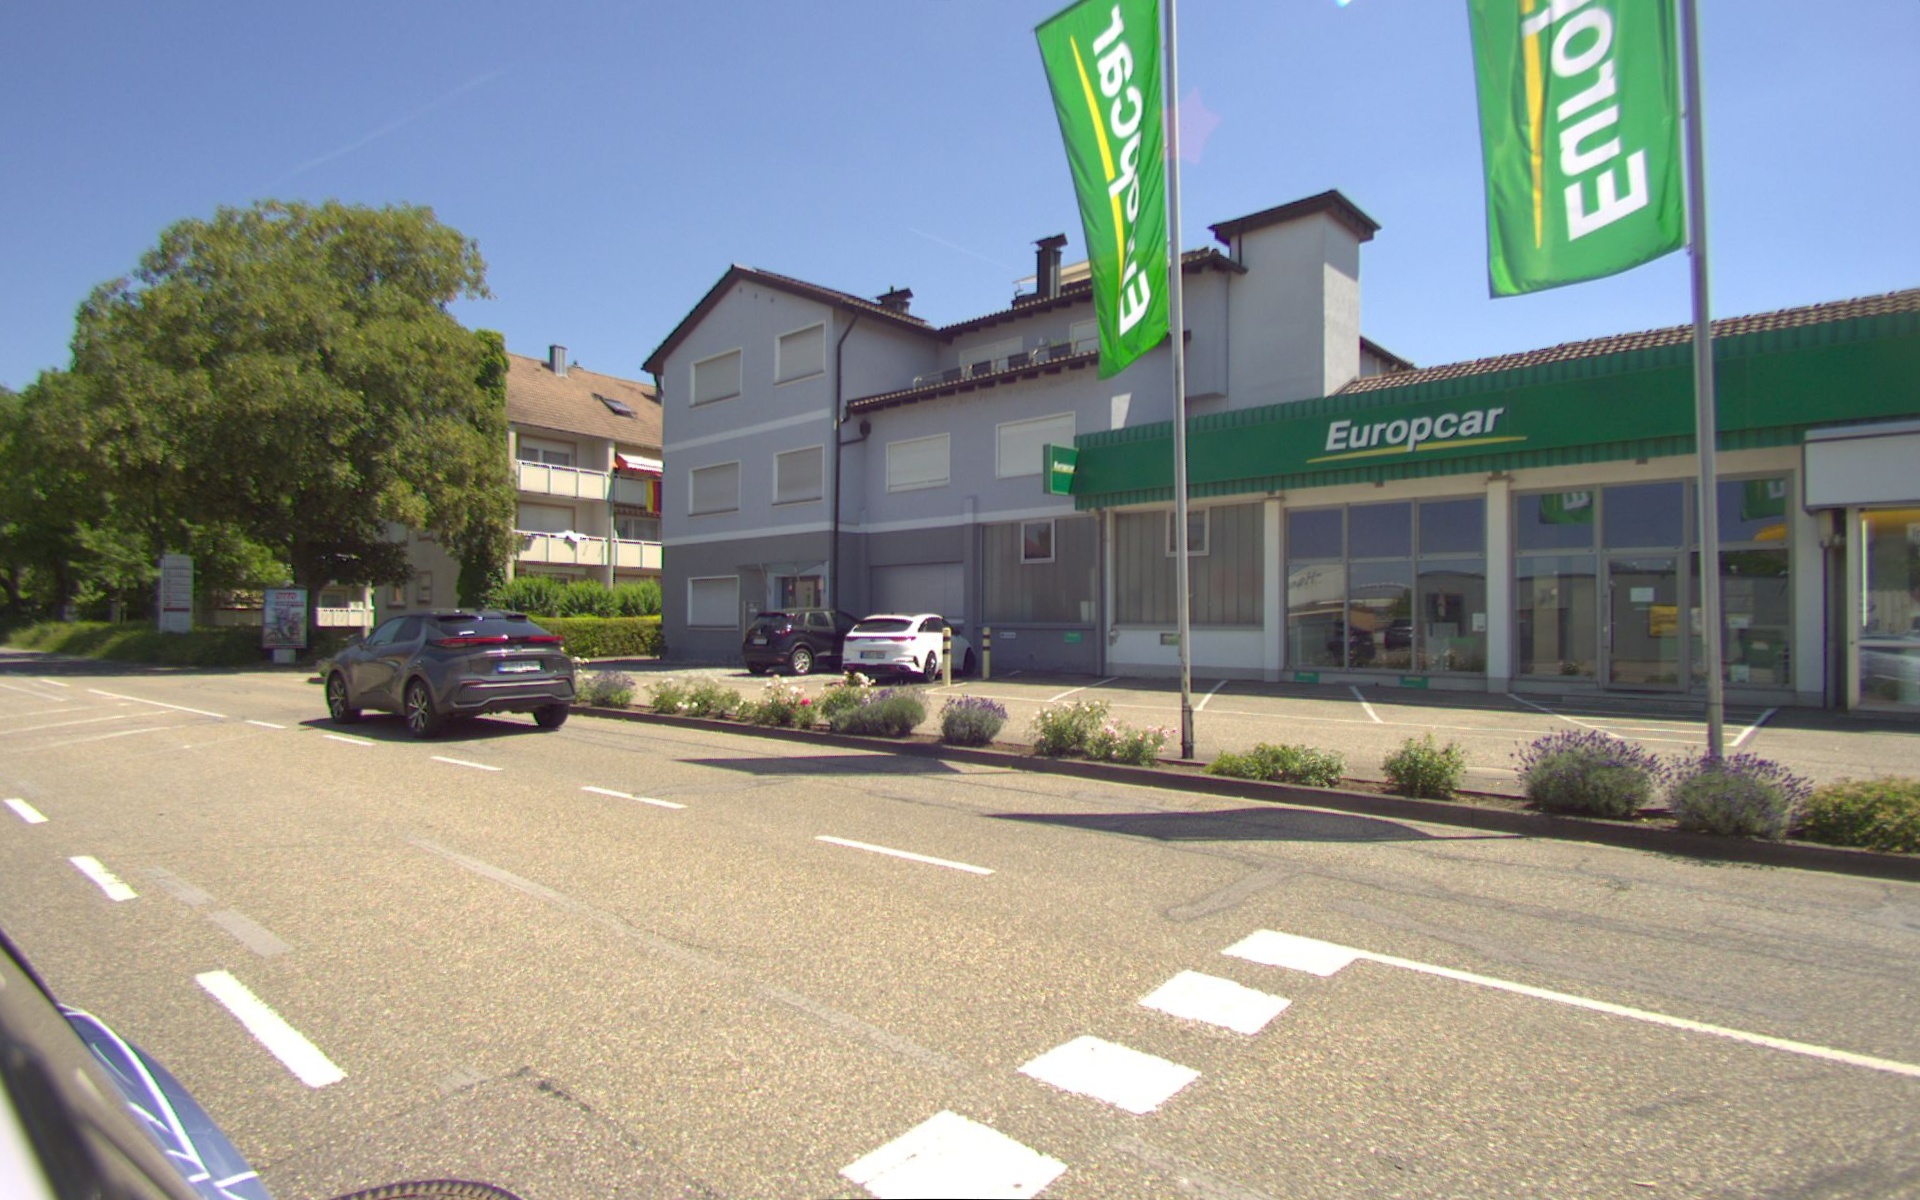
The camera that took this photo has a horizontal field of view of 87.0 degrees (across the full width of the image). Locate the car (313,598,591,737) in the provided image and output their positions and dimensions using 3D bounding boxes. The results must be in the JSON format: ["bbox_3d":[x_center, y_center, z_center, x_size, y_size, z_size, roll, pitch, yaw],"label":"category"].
[{"bbox_3d":[-6.741,0.818,13.248,4.134,1.539,1.744,-1,-3,40],"label":"car"}]

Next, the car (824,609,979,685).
[{"bbox_3d":[-1.121,0.936,21.701,1.924,1.450,4.329,0,-1,18],"label":"car"}]

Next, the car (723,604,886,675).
[{"bbox_3d":[-3.715,0.914,24.629,1.968,1.577,3.524,-1,-1,40],"label":"car"}]
